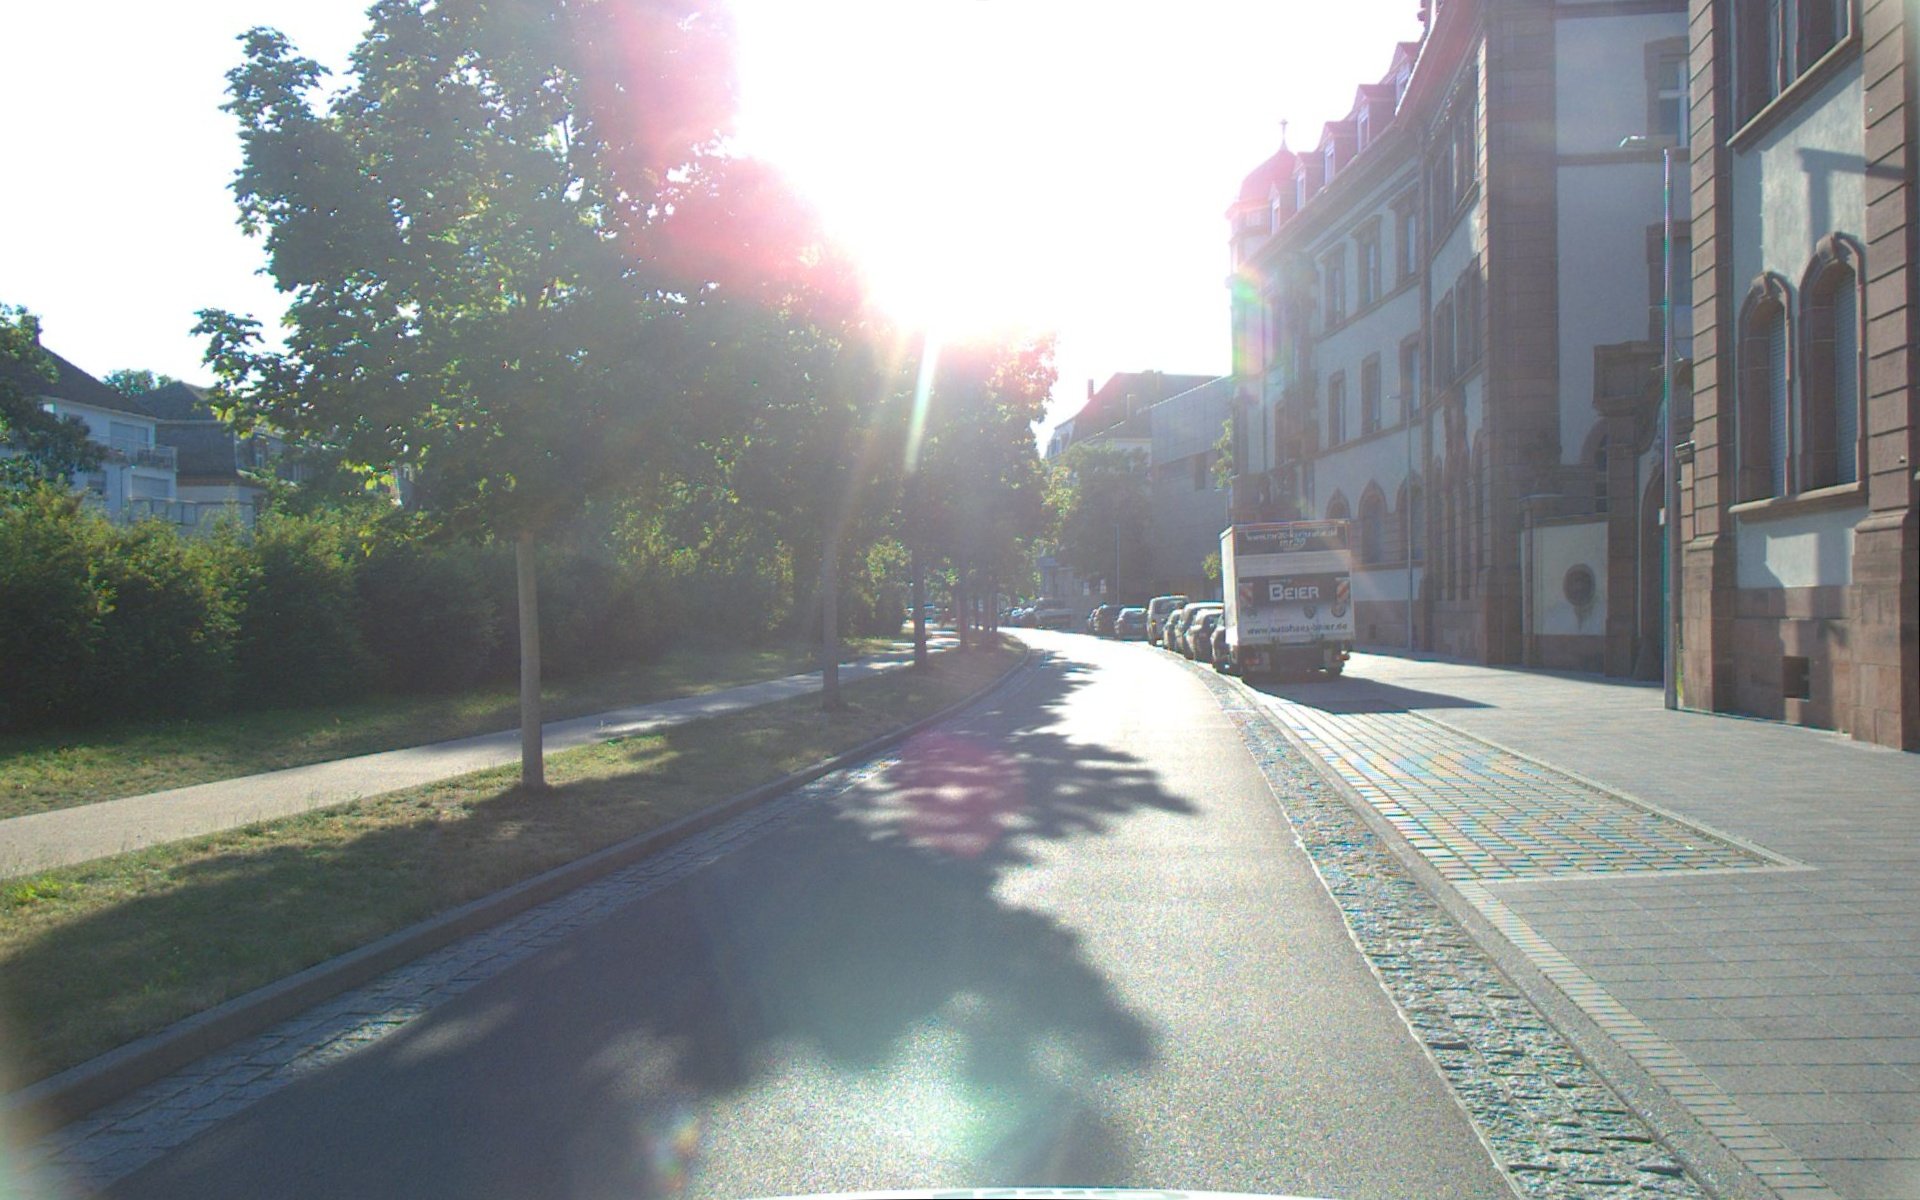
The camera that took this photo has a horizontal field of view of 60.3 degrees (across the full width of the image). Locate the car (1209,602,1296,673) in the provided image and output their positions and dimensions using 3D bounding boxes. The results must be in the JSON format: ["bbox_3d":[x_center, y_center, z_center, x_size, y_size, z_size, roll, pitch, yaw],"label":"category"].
[{"bbox_3d":[7.076,0.869,40.375,1.731,1.557,4.575,-2,-1,6],"label":"car"}]

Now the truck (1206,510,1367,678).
[{"bbox_3d":[6.718,-0.123,34.810,2.568,3.175,6.091,-1,0,4],"label":"truck"}]

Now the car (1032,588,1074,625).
[{"bbox_3d":[6.821,0.488,122.036,2.168,2.574,6.141,-3,0,-5],"label":"car"}]

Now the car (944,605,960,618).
[{"bbox_3d":[-0.913,1.350,196.940,1.758,1.536,3.998,0,0,-2],"label":"car"}]

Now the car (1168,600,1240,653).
[{"bbox_3d":[8.082,0.860,55.083,1.778,1.630,4.193,-2,0,1],"label":"car"}]

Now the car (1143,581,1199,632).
[{"bbox_3d":[8.977,0.292,70.782,1.952,2.000,4.851,-4,-1,3],"label":"car"}]

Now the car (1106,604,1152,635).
[{"bbox_3d":[8.411,0.938,82.821,1.712,1.492,4.476,0,0,-2],"label":"car"}]

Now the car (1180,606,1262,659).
[{"bbox_3d":[7.735,0.938,49.381,1.833,1.461,4.523,-2,0,2],"label":"car"}]

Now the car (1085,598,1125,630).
[{"bbox_3d":[8.159,0.780,93.243,1.690,1.698,4.111,-2,0,-3],"label":"car"}]

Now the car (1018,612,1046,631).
[{"bbox_3d":[5.785,1.695,133.333,1.658,1.466,3.545,-1,0,-7],"label":"car"}]

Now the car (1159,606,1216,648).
[{"bbox_3d":[8.263,0.955,60.341,1.644,1.427,4.201,-2,0,3],"label":"car"}]

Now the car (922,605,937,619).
[{"bbox_3d":[-3.892,1.533,210.805,1.759,1.755,3.996,0,0,-5],"label":"car"}]
